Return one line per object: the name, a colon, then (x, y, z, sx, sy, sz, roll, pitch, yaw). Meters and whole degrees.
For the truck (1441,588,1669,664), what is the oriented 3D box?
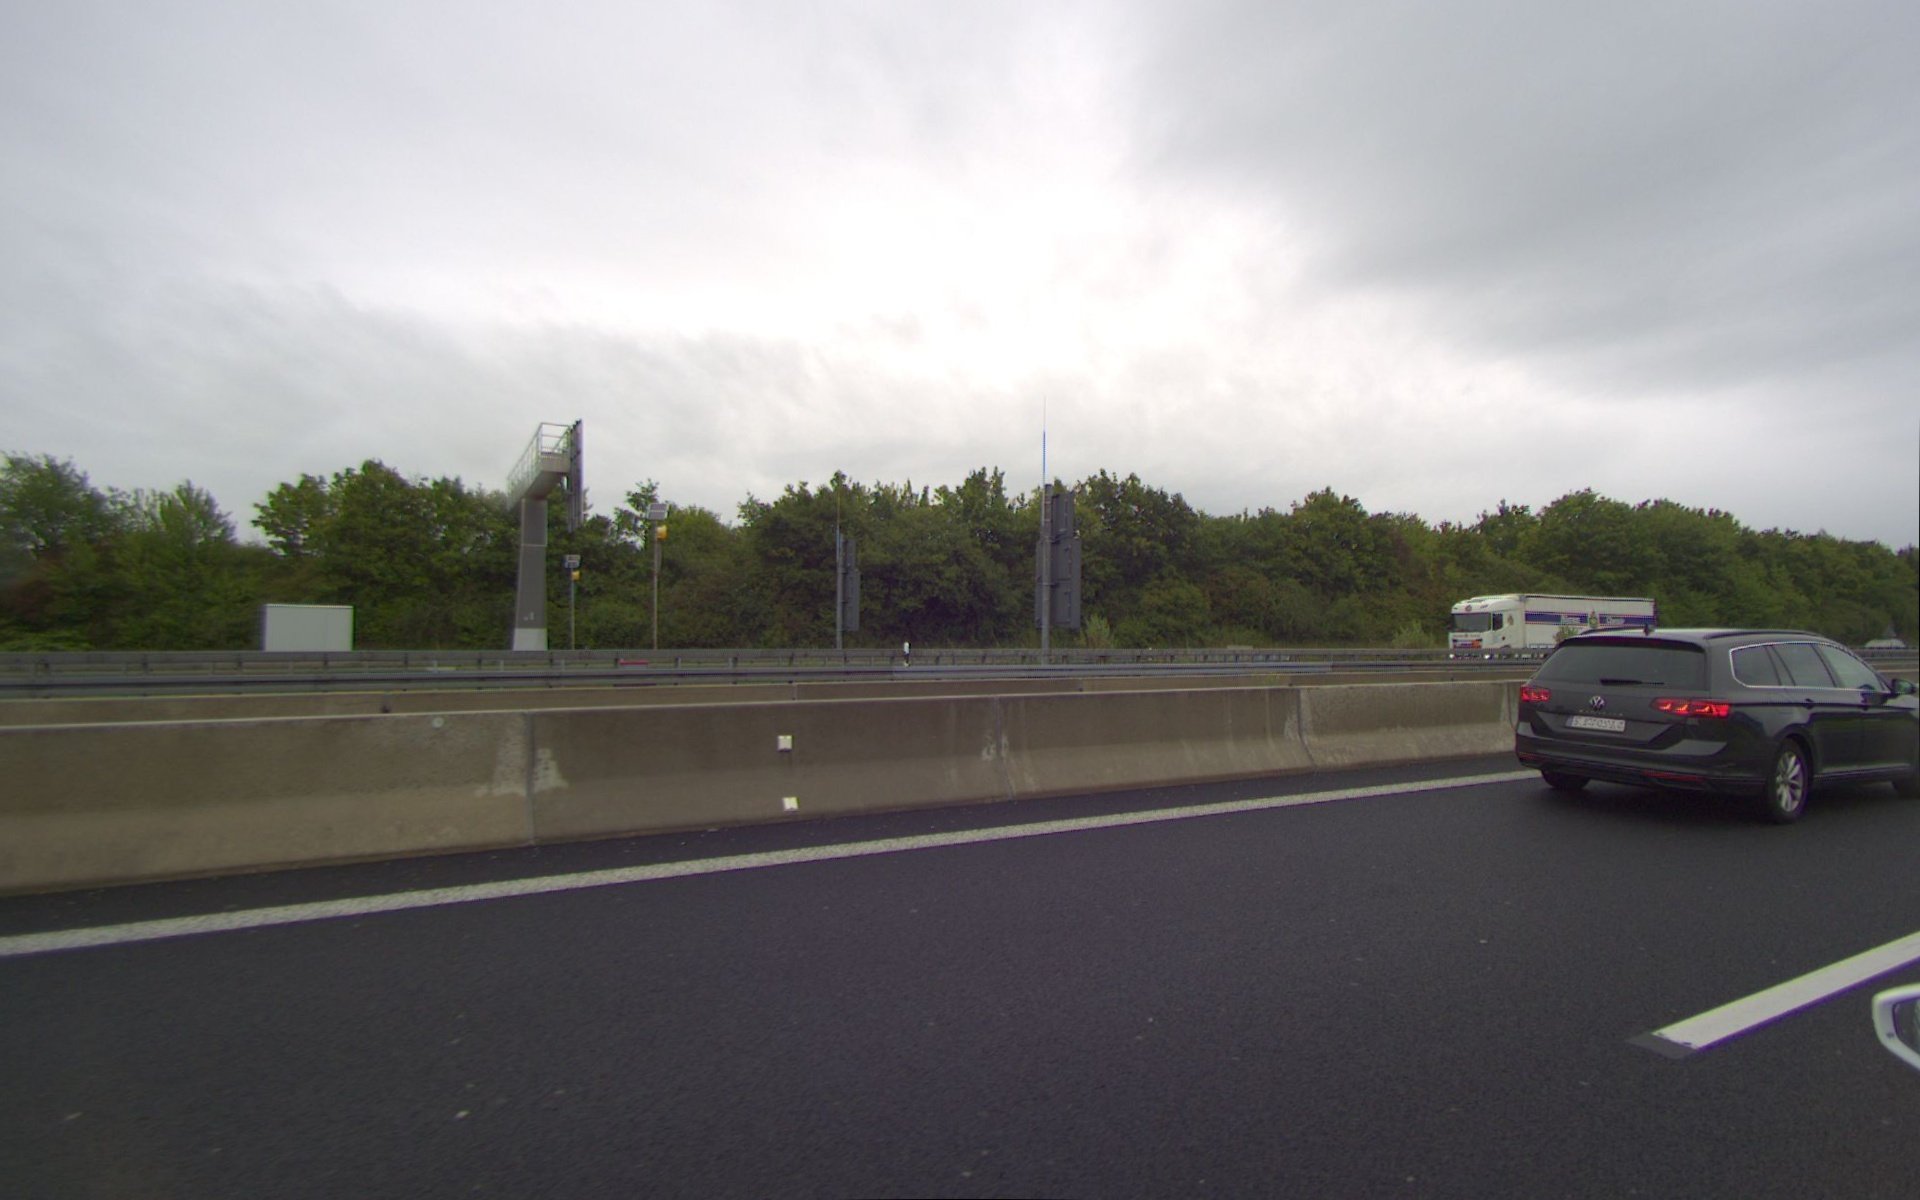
truck: (33.799, 1.563, 56.533, 16.930, 3.859, 3.163, 1, -2, -30)

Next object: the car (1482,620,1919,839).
car: (6.934, 0.970, 8.888, 4.743, 1.478, 1.780, 2, 0, -29)
